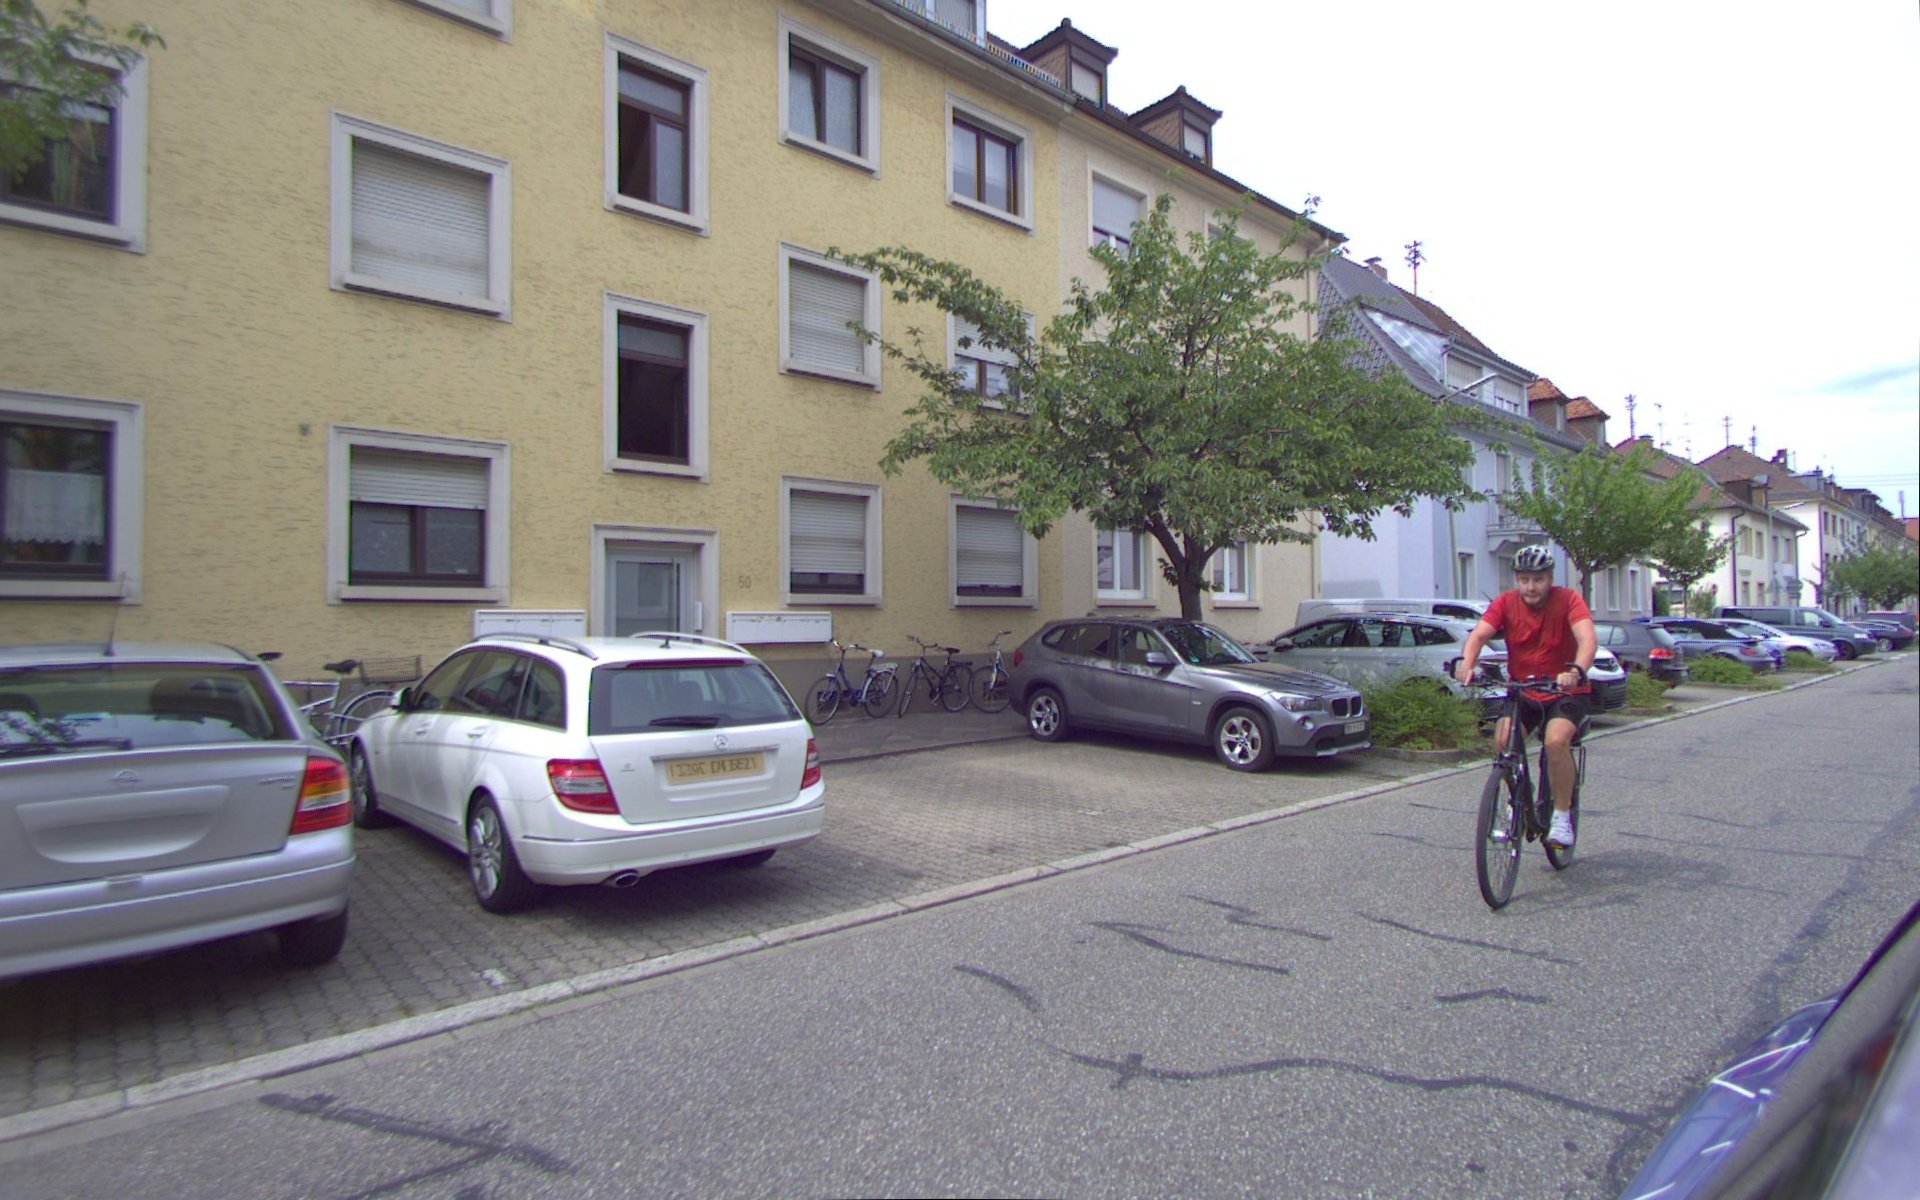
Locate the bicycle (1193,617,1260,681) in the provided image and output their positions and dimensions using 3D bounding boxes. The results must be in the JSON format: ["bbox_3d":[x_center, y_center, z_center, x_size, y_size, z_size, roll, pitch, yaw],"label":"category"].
[{"bbox_3d":[5.119,0.918,19.399,1.608,1.154,0.479,0,1,-44],"label":"bicycle"}]

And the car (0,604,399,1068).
[{"bbox_3d":[-4.344,0.785,5.017,1.819,1.432,4.097,0,1,-43],"label":"car"}]

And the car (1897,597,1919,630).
[{"bbox_3d":[52.115,0.722,54.844,3.384,1.698,1.643,0,-2,-42],"label":"car"}]

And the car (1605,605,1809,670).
[{"bbox_3d":[21.492,1.011,29.284,1.836,1.632,4.406,0,1,-36],"label":"car"}]

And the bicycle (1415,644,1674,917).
[{"bbox_3d":[3.382,0.907,5.775,1.903,1.243,0.692,0,-2,-42],"label":"bicycle"}]

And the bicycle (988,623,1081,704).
[{"bbox_3d":[1.179,0.955,15.718,1.608,1.154,0.479,0,1,-44],"label":"bicycle"}]

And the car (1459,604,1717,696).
[{"bbox_3d":[12.471,0.912,20.297,1.681,1.556,4.114,0,1,-42],"label":"car"}]

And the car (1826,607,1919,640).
[{"bbox_3d":[41.887,1.081,46.177,1.620,1.466,3.433,1,-2,-44],"label":"car"}]

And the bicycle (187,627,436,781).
[{"bbox_3d":[-5.900,0.891,9.288,1.844,1.214,0.586,0,1,-44],"label":"bicycle"}]

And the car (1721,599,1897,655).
[{"bbox_3d":[30.862,0.922,36.908,1.838,1.850,4.715,0,1,-41],"label":"car"}]

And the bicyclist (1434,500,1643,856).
[{"bbox_3d":[3.253,0.398,5.686,0.969,1.793,0.693,0,-2,-42],"label":"bicyclist"}]

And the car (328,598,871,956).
[{"bbox_3d":[-2.715,0.788,6.837,1.819,1.529,4.552,0,1,-43],"label":"car"}]

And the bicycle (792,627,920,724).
[{"bbox_3d":[-1.365,0.967,13.505,1.726,1.154,0.537,0,1,-44],"label":"bicycle"}]

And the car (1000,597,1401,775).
[{"bbox_3d":[2.598,0.801,11.801,1.818,1.618,4.314,0,1,-41],"label":"car"}]

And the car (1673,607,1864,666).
[{"bbox_3d":[24.957,1.064,31.360,1.838,1.556,4.400,0,1,-41],"label":"car"}]

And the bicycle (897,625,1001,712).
[{"bbox_3d":[-0.143,0.959,14.693,1.608,1.154,0.479,0,1,-44],"label":"bicycle"}]

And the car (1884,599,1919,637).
[{"bbox_3d":[46.976,0.882,49.955,3.384,1.851,1.643,0,-2,-42],"label":"car"}]

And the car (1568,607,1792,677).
[{"bbox_3d":[18.199,0.998,25.746,1.681,1.519,4.398,0,1,-42],"label":"car"}]

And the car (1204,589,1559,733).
[{"bbox_3d":[5.847,0.733,14.462,1.818,1.705,4.314,2,0,-41],"label":"car"}]

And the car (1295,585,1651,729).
[{"bbox_3d":[7.977,0.748,16.156,1.818,1.934,4.746,0,1,-41],"label":"car"}]
